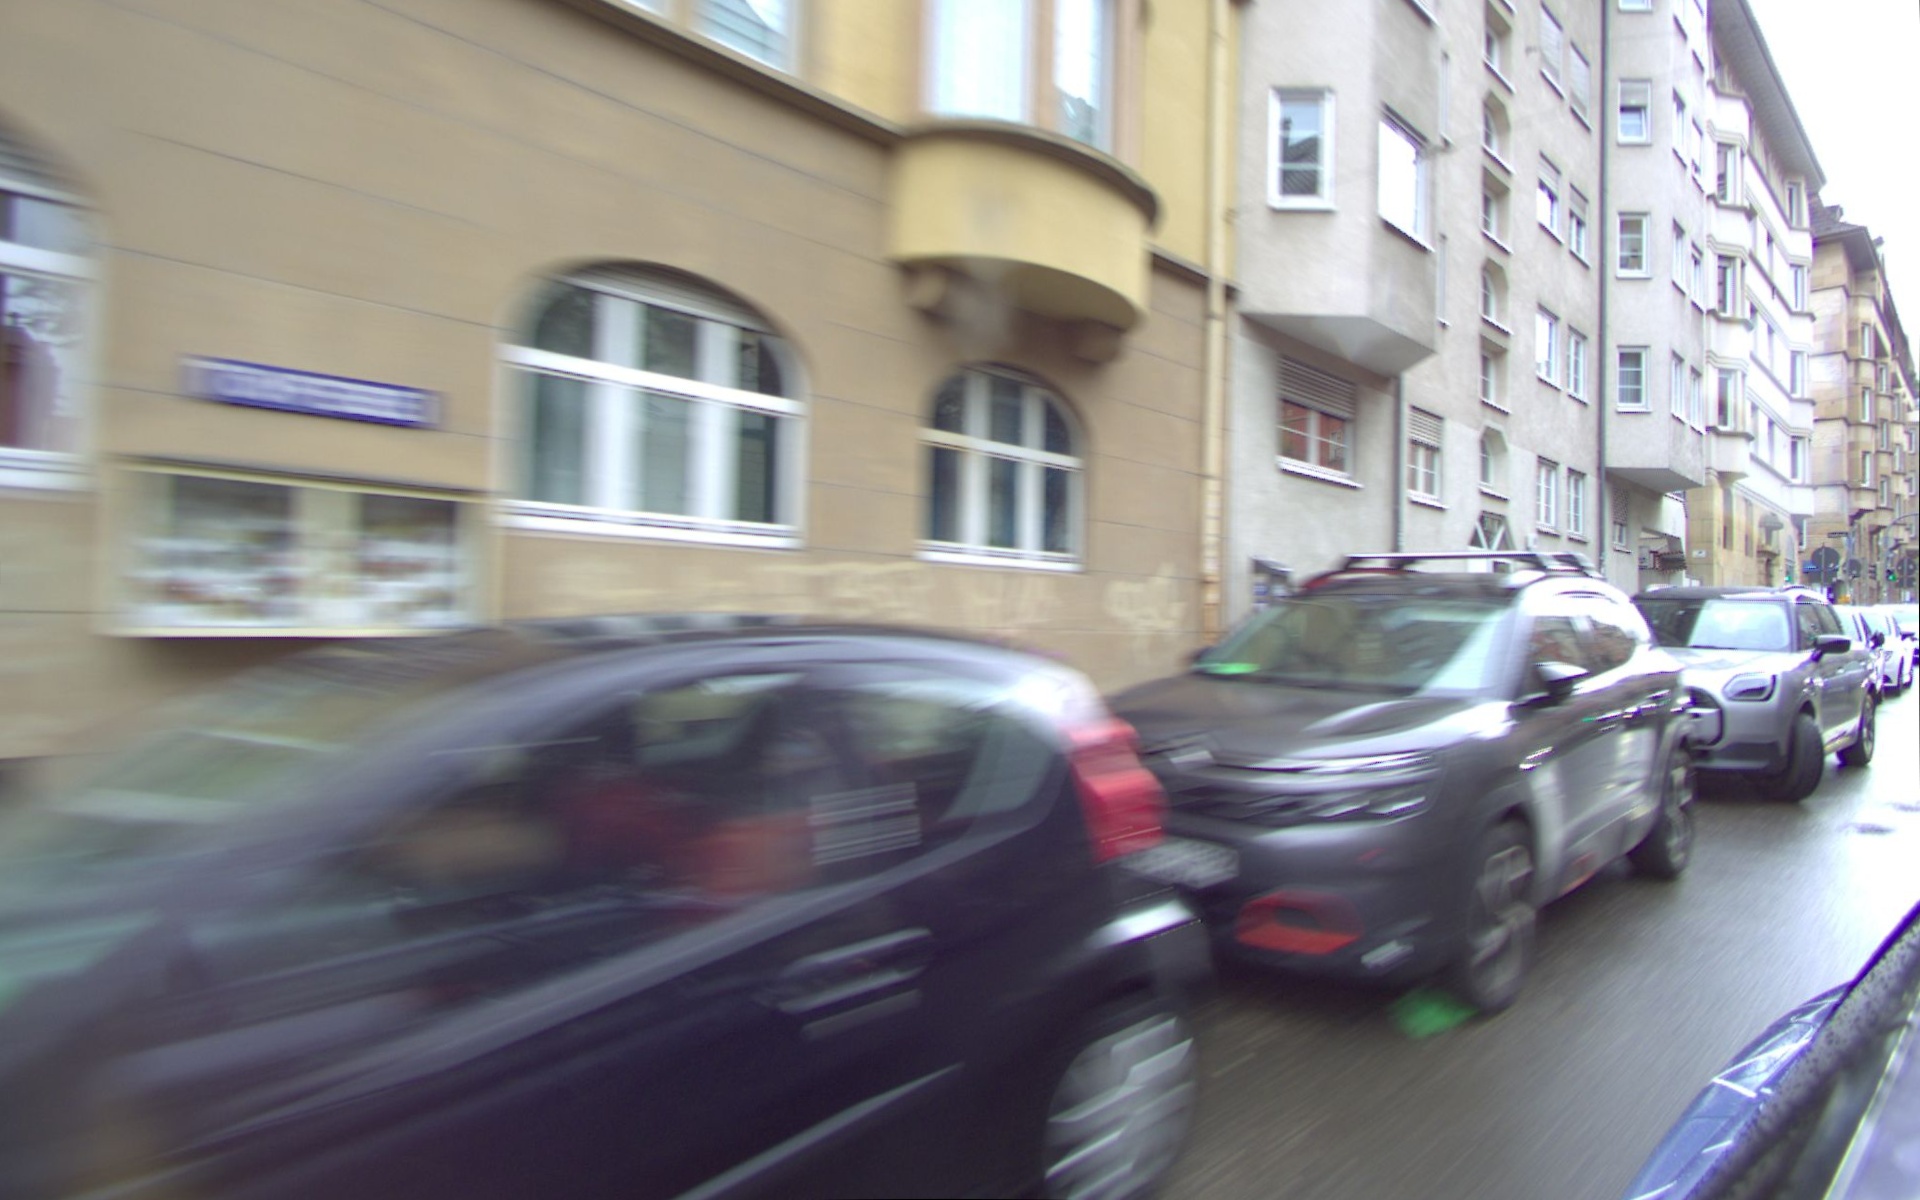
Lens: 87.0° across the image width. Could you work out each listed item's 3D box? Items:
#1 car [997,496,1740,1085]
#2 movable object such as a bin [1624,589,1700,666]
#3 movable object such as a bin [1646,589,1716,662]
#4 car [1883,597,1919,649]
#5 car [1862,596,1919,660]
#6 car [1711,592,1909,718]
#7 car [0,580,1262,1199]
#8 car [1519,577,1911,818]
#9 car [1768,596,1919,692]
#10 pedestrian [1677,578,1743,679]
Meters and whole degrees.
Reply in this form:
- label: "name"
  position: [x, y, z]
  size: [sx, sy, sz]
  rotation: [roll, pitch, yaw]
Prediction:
- label: "car"
  position: [2.406, 0.528, 5.209]
  size: [4.471, 1.771, 1.781]
  rotation: [-1, 1, -42]
- label: "movable object such as a bin"
  position: [14.252, 0.530, 20.539]
  size: [1.300, 1.486, 1.019]
  rotation: [-1, 1, -43]
- label: "movable object such as a bin"
  position: [15.342, 0.510, 21.526]
  size: [1.251, 1.486, 0.981]
  rotation: [-1, 1, -43]
- label: "car"
  position: [29.007, 0.653, 30.137]
  size: [4.734, 1.428, 1.714]
  rotation: [-1, 2, -41]
- label: "car"
  position: [25.122, 0.681, 26.567]
  size: [4.693, 1.486, 1.714]
  rotation: [-1, 2, -43]
- label: "car"
  position: [12.393, 0.661, 14.656]
  size: [1.833, 1.486, 4.305]
  rotation: [1, 2, 45]
- label: "car"
  position: [-0.917, 0.709, 2.116]
  size: [3.256, 1.458, 1.592]
  rotation: [-1, 0, -45]
- label: "car"
  position: [6.930, 0.612, 9.083]
  size: [4.677, 1.628, 1.845]
  rotation: [-1, 1, -41]
- label: "car"
  position: [15.744, 0.673, 17.795]
  size: [4.321, 1.403, 1.791]
  rotation: [-1, 2, -43]
- label: "pedestrian"
  position: [13.193, 0.476, 17.800]
  size: [0.742, 1.708, 0.805]
  rotation: [-1, 1, -43]
